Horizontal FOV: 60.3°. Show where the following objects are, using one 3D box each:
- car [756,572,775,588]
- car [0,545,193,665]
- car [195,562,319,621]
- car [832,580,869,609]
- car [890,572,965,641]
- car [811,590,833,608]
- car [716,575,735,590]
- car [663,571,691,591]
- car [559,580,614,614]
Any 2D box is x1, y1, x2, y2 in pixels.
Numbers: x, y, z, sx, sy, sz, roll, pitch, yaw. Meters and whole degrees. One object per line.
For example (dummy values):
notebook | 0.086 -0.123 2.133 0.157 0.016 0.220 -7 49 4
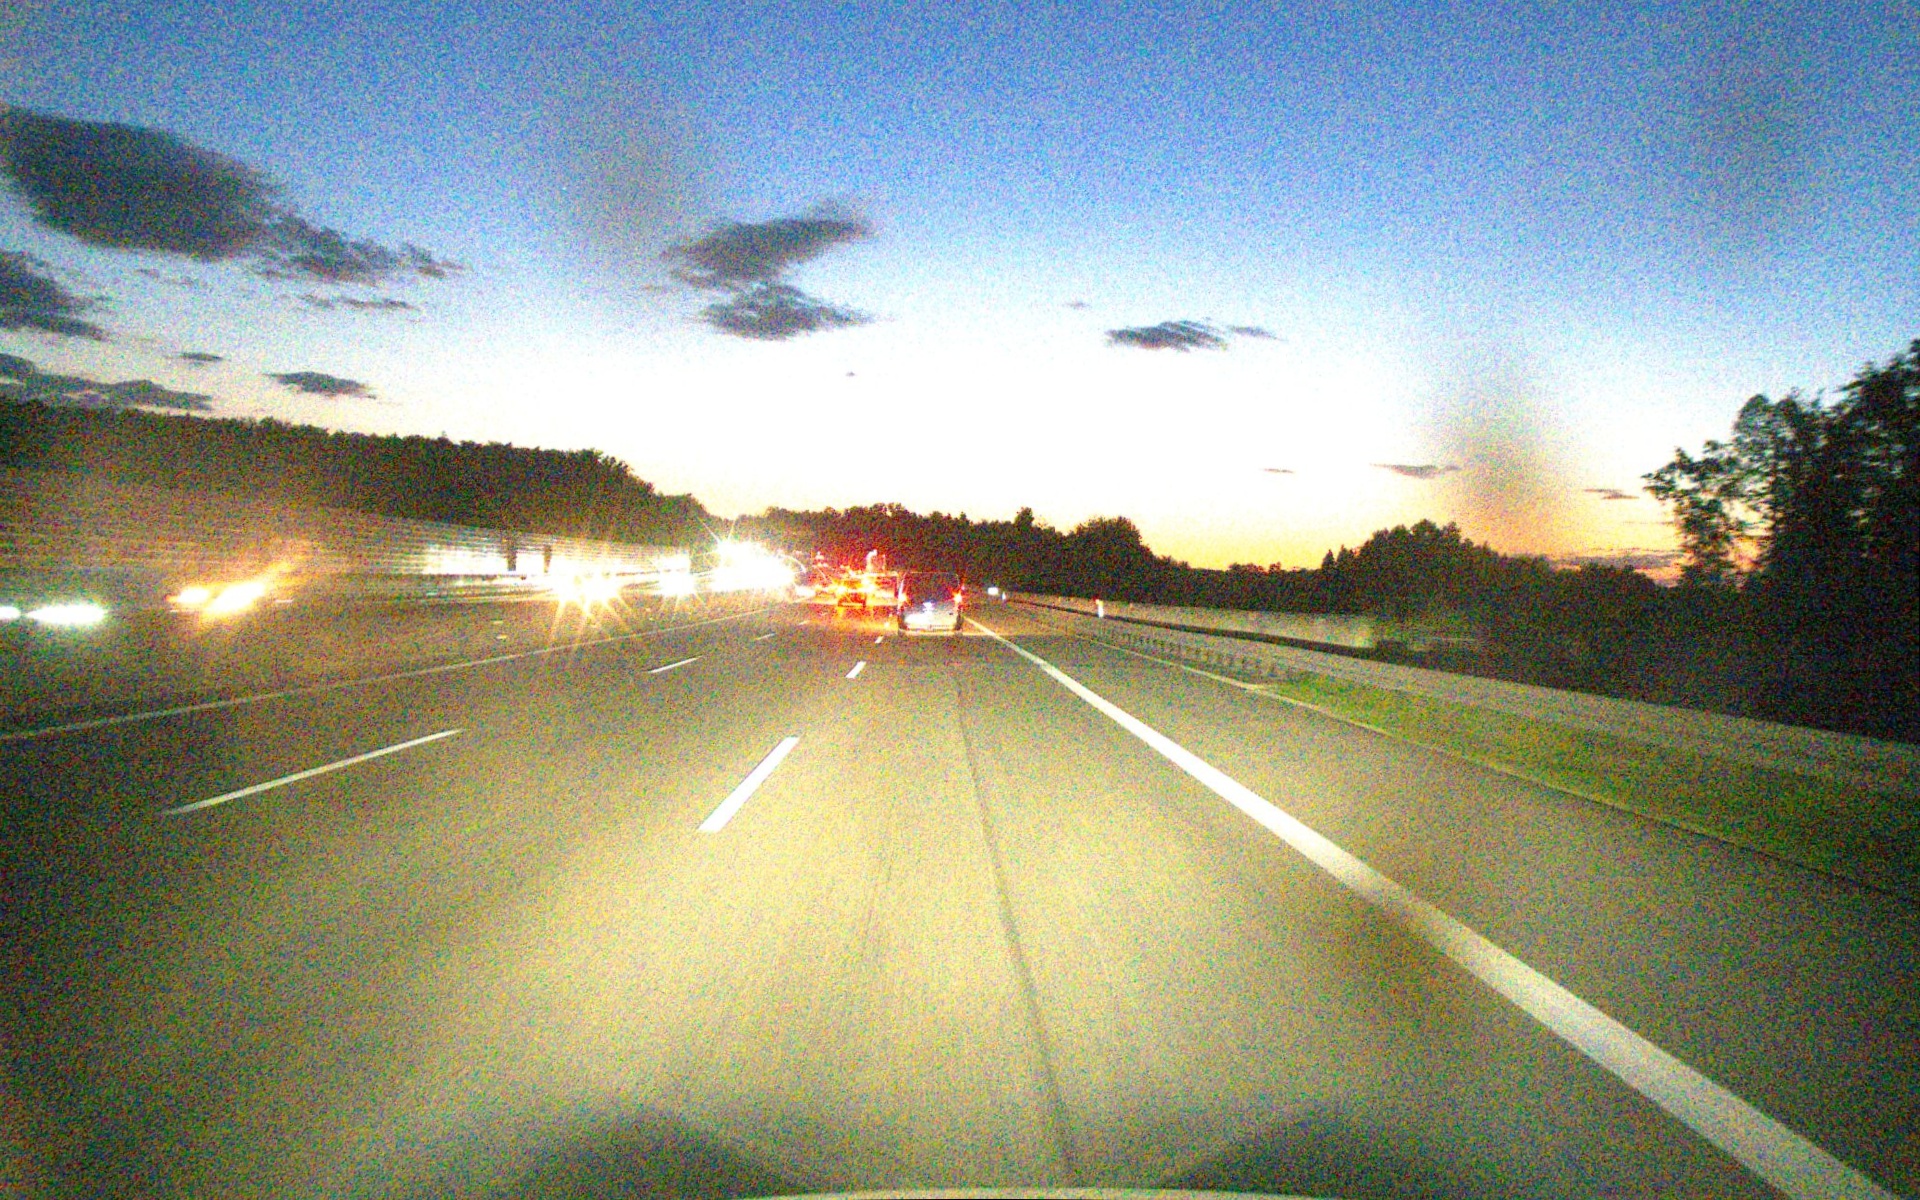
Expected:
car | -24.139 -2.444 205.602 2.063 1.821 4.647 1 -1 -3
car | -15.063 0.031 27.785 2.061 1.820 4.869 1 1 0
car | -23.499 -0.247 55.511 2.061 1.821 4.868 1 -1 0
car | -7.192 -0.336 109.418 1.952 1.751 5.942 0 -1 1
car | -1.043 0.183 50.352 2.153 1.989 4.761 0 0 -3
car | -11.959 -0.065 143.993 1.518 1.456 5.513 1 -1 -1
car | -31.742 -2.338 223.828 2.062 1.821 4.648 1 -1 -2
car | -28.125 -1.847 164.653 2.062 1.821 4.649 1 -1 -2
car | -21.357 -0.135 94.717 2.061 1.821 4.650 1 -1 0
